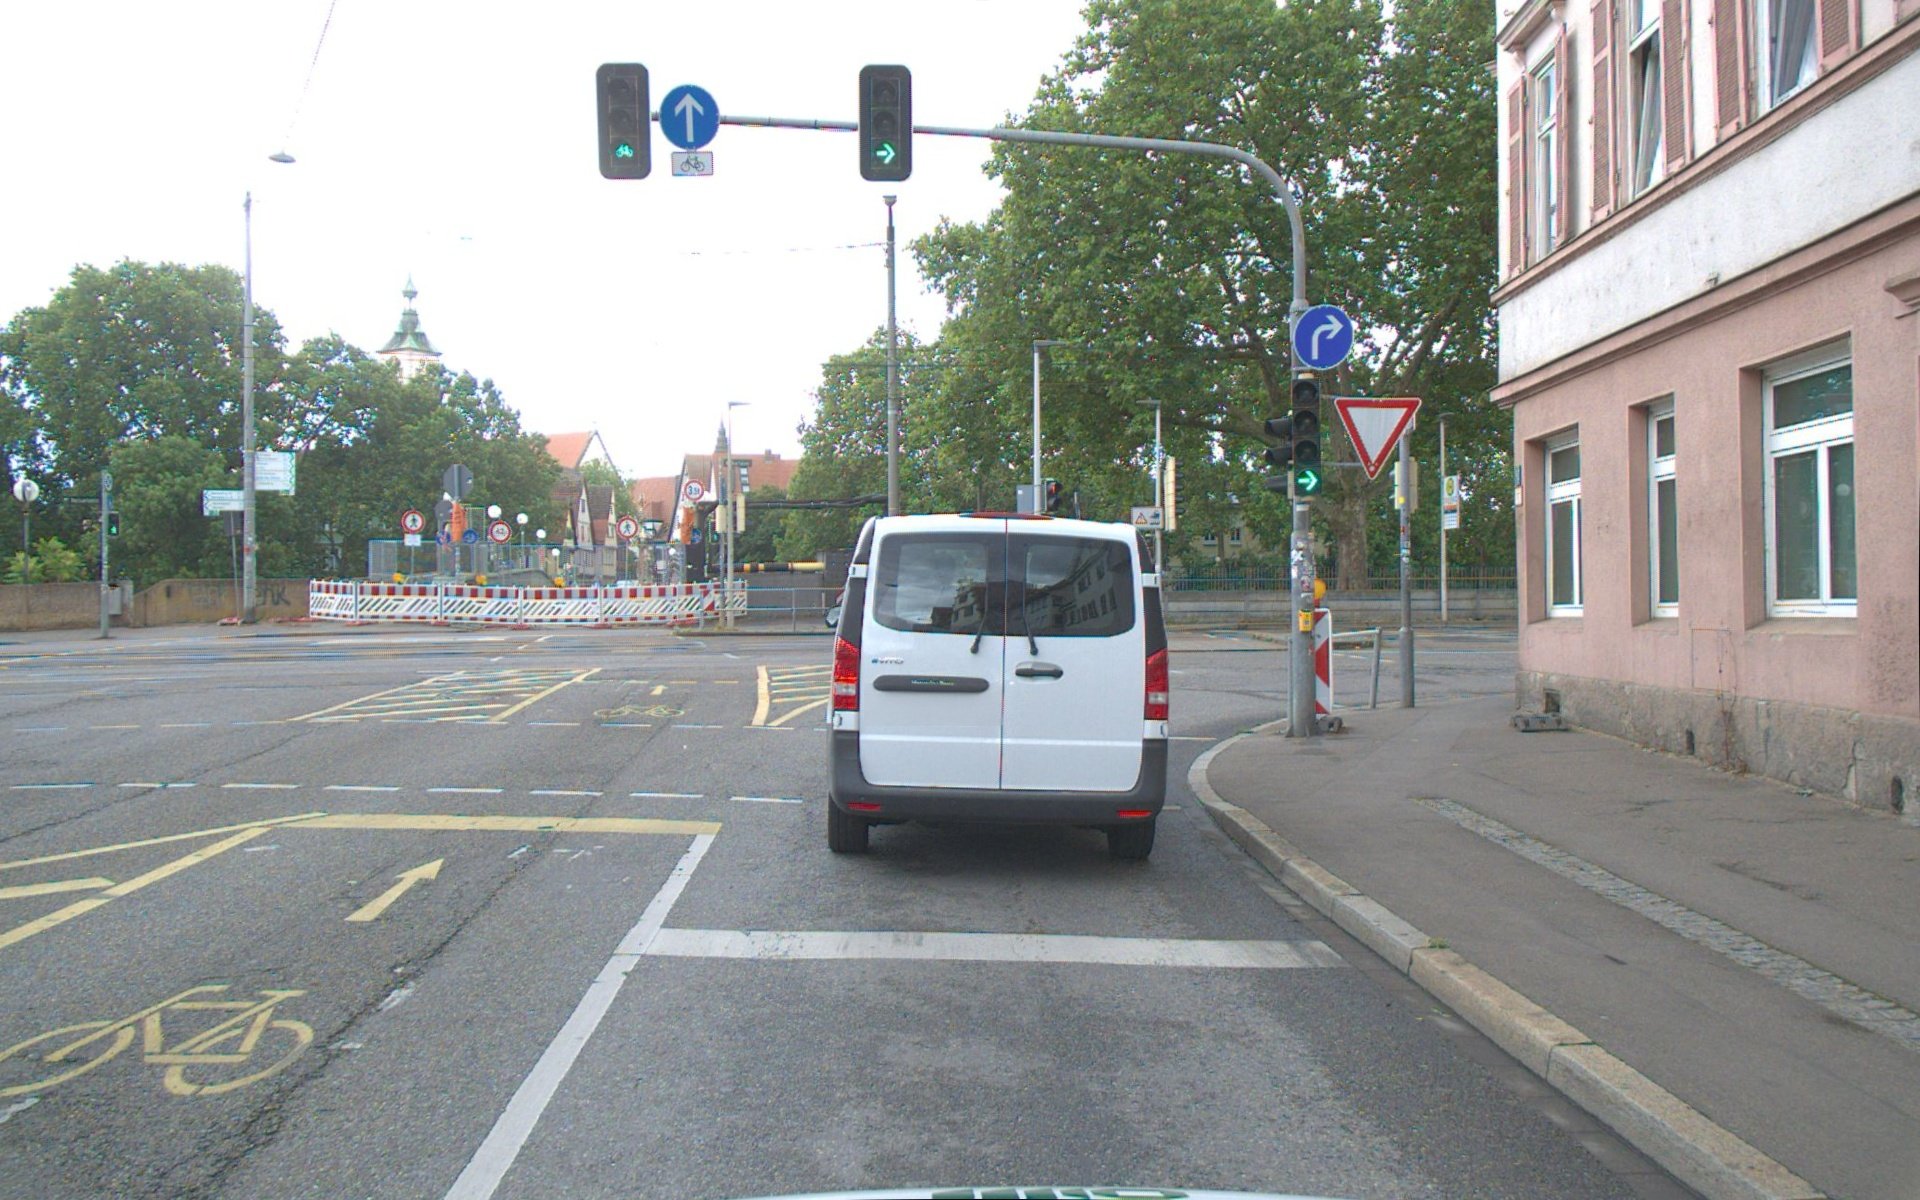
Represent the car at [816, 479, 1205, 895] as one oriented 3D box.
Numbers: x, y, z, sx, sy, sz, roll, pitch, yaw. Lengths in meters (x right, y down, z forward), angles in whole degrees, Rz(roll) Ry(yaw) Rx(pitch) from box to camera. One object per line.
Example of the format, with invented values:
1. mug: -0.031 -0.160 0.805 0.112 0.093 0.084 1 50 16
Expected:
1. car: 0.216 0.395 10.598 1.911 2.048 4.697 1 1 -1
